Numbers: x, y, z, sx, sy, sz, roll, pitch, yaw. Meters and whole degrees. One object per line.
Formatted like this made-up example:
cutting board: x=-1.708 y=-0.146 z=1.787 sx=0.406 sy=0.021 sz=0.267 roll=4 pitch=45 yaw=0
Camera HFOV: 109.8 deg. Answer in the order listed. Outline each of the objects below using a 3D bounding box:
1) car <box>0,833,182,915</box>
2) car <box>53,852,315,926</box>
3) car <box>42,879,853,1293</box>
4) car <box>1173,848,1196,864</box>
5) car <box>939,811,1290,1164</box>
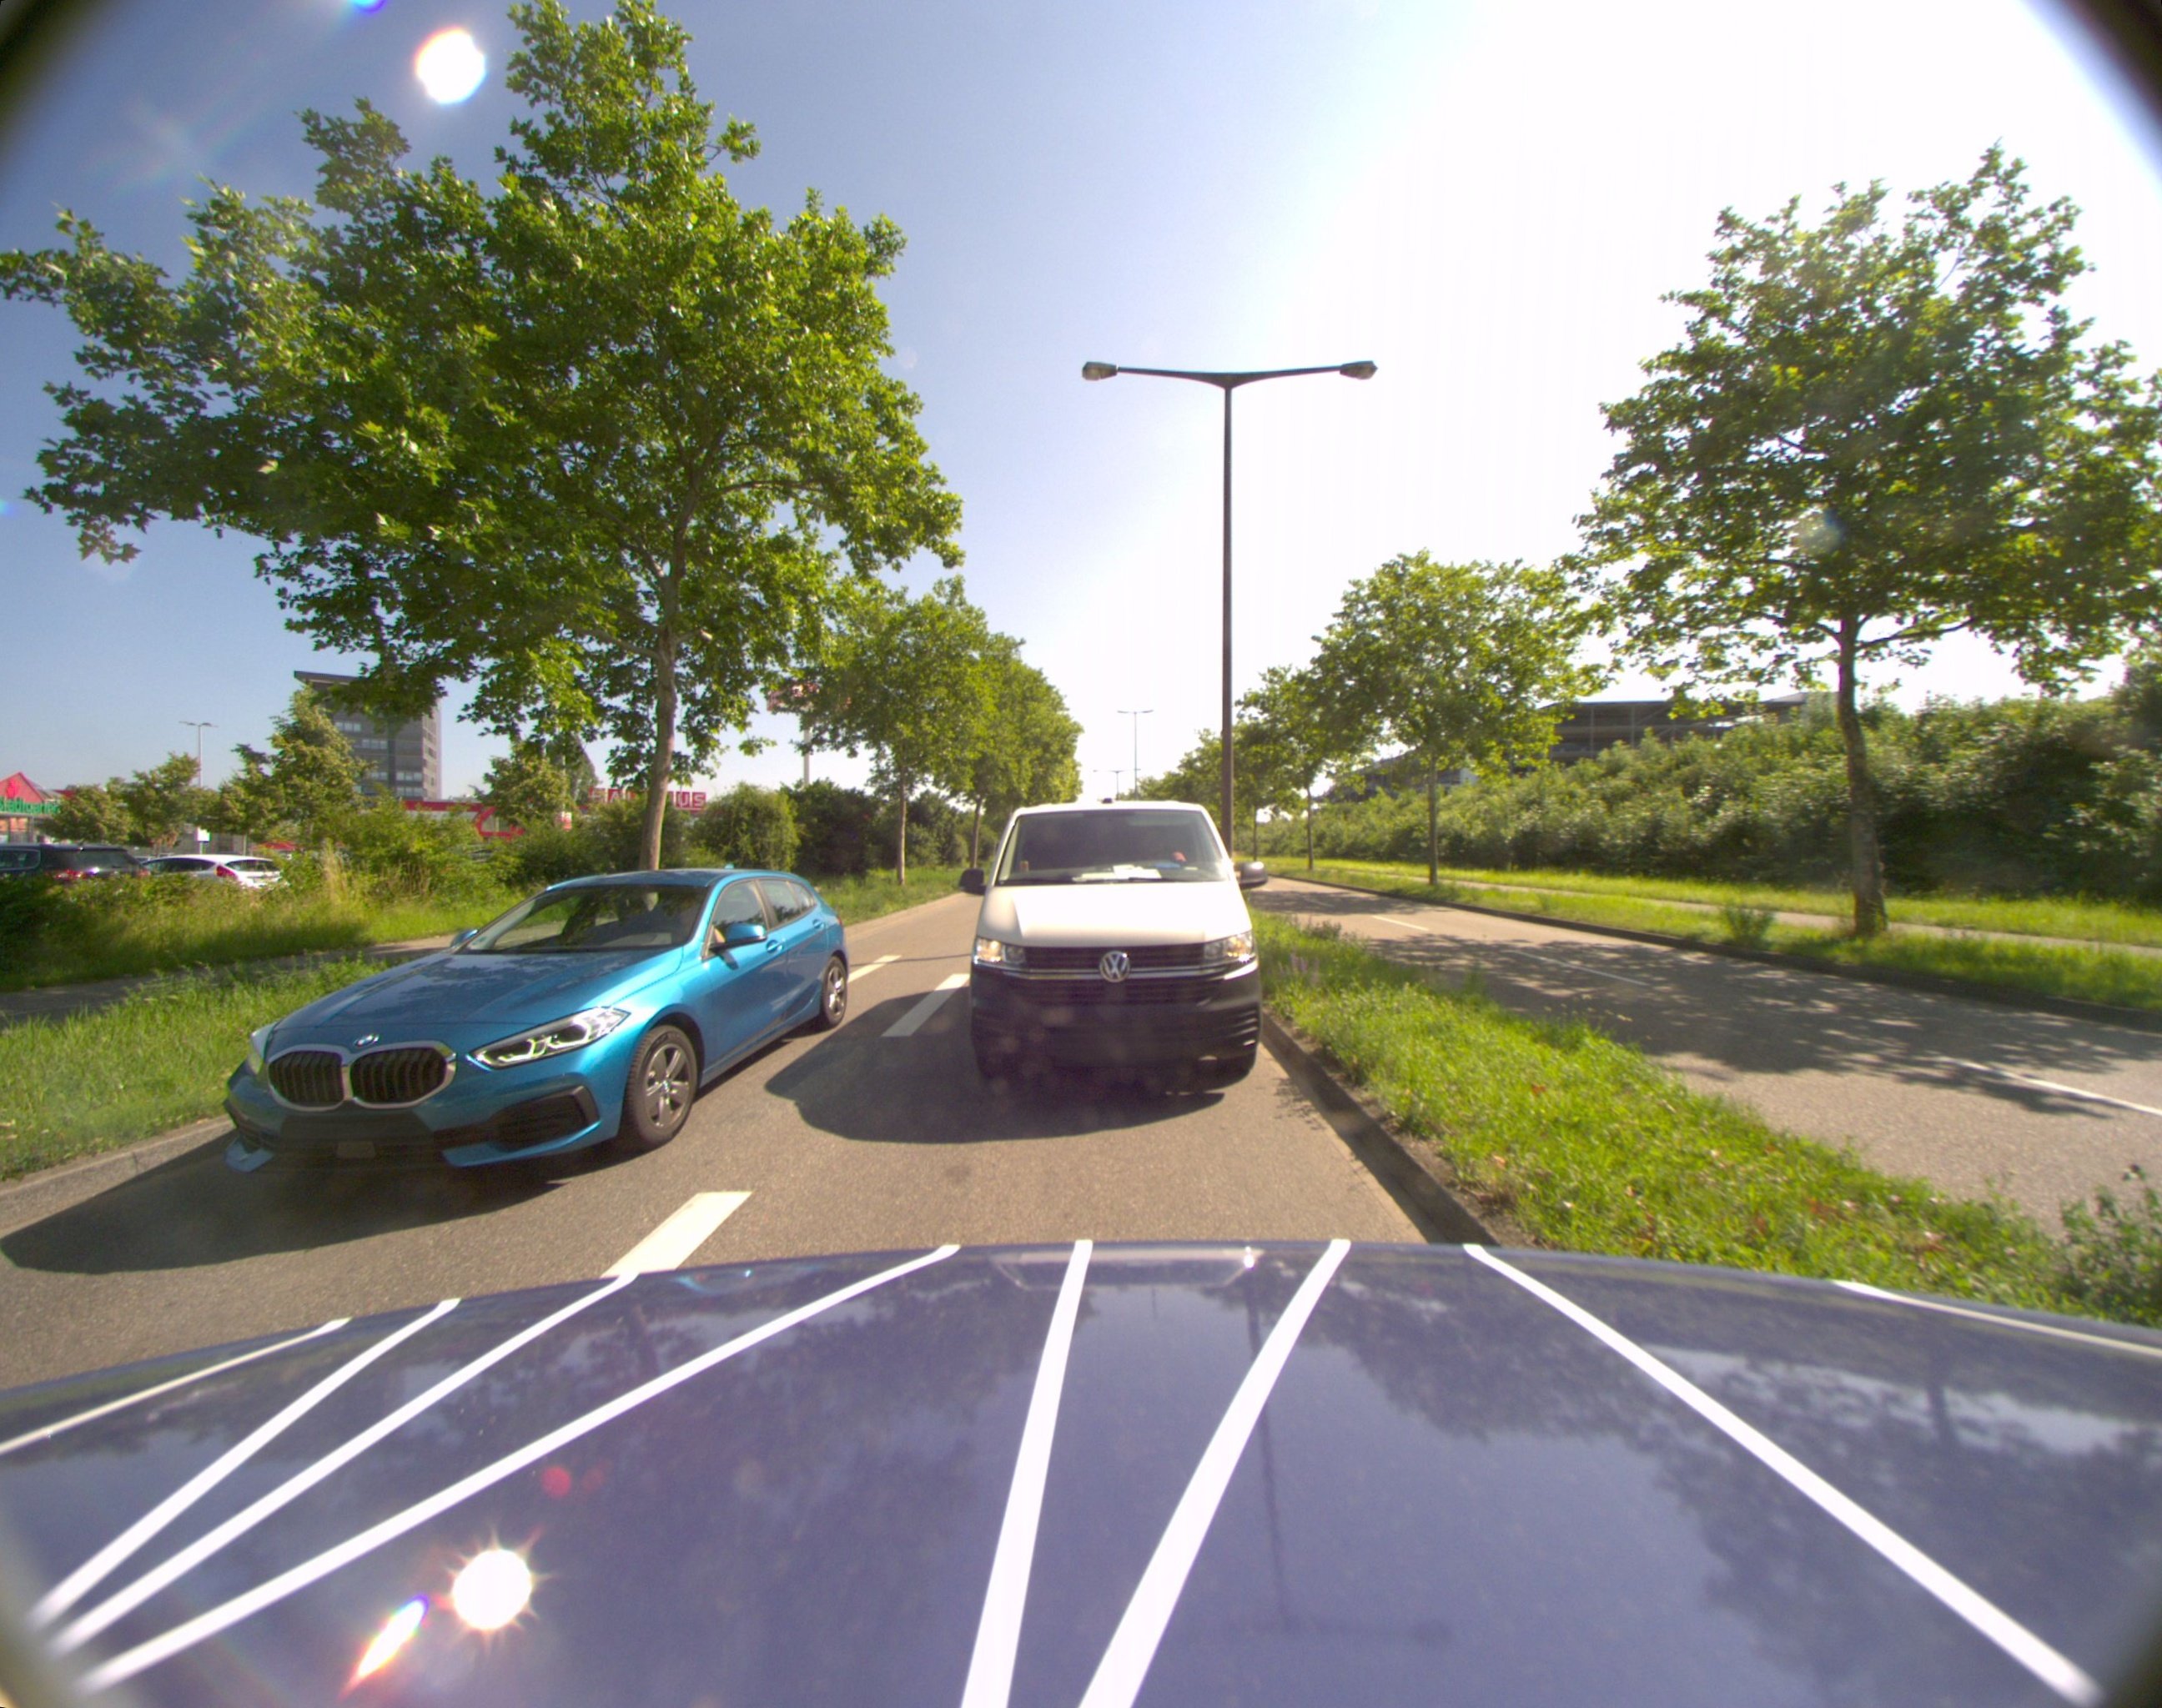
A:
car: x=-22.292 y=0.431 z=16.055 sx=4.083 sy=1.582 sz=1.880 roll=-2 pitch=1 yaw=-3
car: x=-22.302 y=0.825 z=19.052 sx=4.083 sy=1.582 sz=1.880 roll=-2 pitch=1 yaw=-3
car: x=-3.085 y=0.979 z=5.033 sx=1.872 sy=1.412 sz=4.129 roll=0 pitch=1 yaw=0
car: x=9.798 y=0.170 z=72.111 sx=1.704 sy=1.499 sz=4.000 roll=0 pitch=0 yaw=0
car: x=0.188 y=0.683 z=6.518 sx=1.872 sy=1.889 sz=4.880 roll=0 pitch=1 yaw=0
